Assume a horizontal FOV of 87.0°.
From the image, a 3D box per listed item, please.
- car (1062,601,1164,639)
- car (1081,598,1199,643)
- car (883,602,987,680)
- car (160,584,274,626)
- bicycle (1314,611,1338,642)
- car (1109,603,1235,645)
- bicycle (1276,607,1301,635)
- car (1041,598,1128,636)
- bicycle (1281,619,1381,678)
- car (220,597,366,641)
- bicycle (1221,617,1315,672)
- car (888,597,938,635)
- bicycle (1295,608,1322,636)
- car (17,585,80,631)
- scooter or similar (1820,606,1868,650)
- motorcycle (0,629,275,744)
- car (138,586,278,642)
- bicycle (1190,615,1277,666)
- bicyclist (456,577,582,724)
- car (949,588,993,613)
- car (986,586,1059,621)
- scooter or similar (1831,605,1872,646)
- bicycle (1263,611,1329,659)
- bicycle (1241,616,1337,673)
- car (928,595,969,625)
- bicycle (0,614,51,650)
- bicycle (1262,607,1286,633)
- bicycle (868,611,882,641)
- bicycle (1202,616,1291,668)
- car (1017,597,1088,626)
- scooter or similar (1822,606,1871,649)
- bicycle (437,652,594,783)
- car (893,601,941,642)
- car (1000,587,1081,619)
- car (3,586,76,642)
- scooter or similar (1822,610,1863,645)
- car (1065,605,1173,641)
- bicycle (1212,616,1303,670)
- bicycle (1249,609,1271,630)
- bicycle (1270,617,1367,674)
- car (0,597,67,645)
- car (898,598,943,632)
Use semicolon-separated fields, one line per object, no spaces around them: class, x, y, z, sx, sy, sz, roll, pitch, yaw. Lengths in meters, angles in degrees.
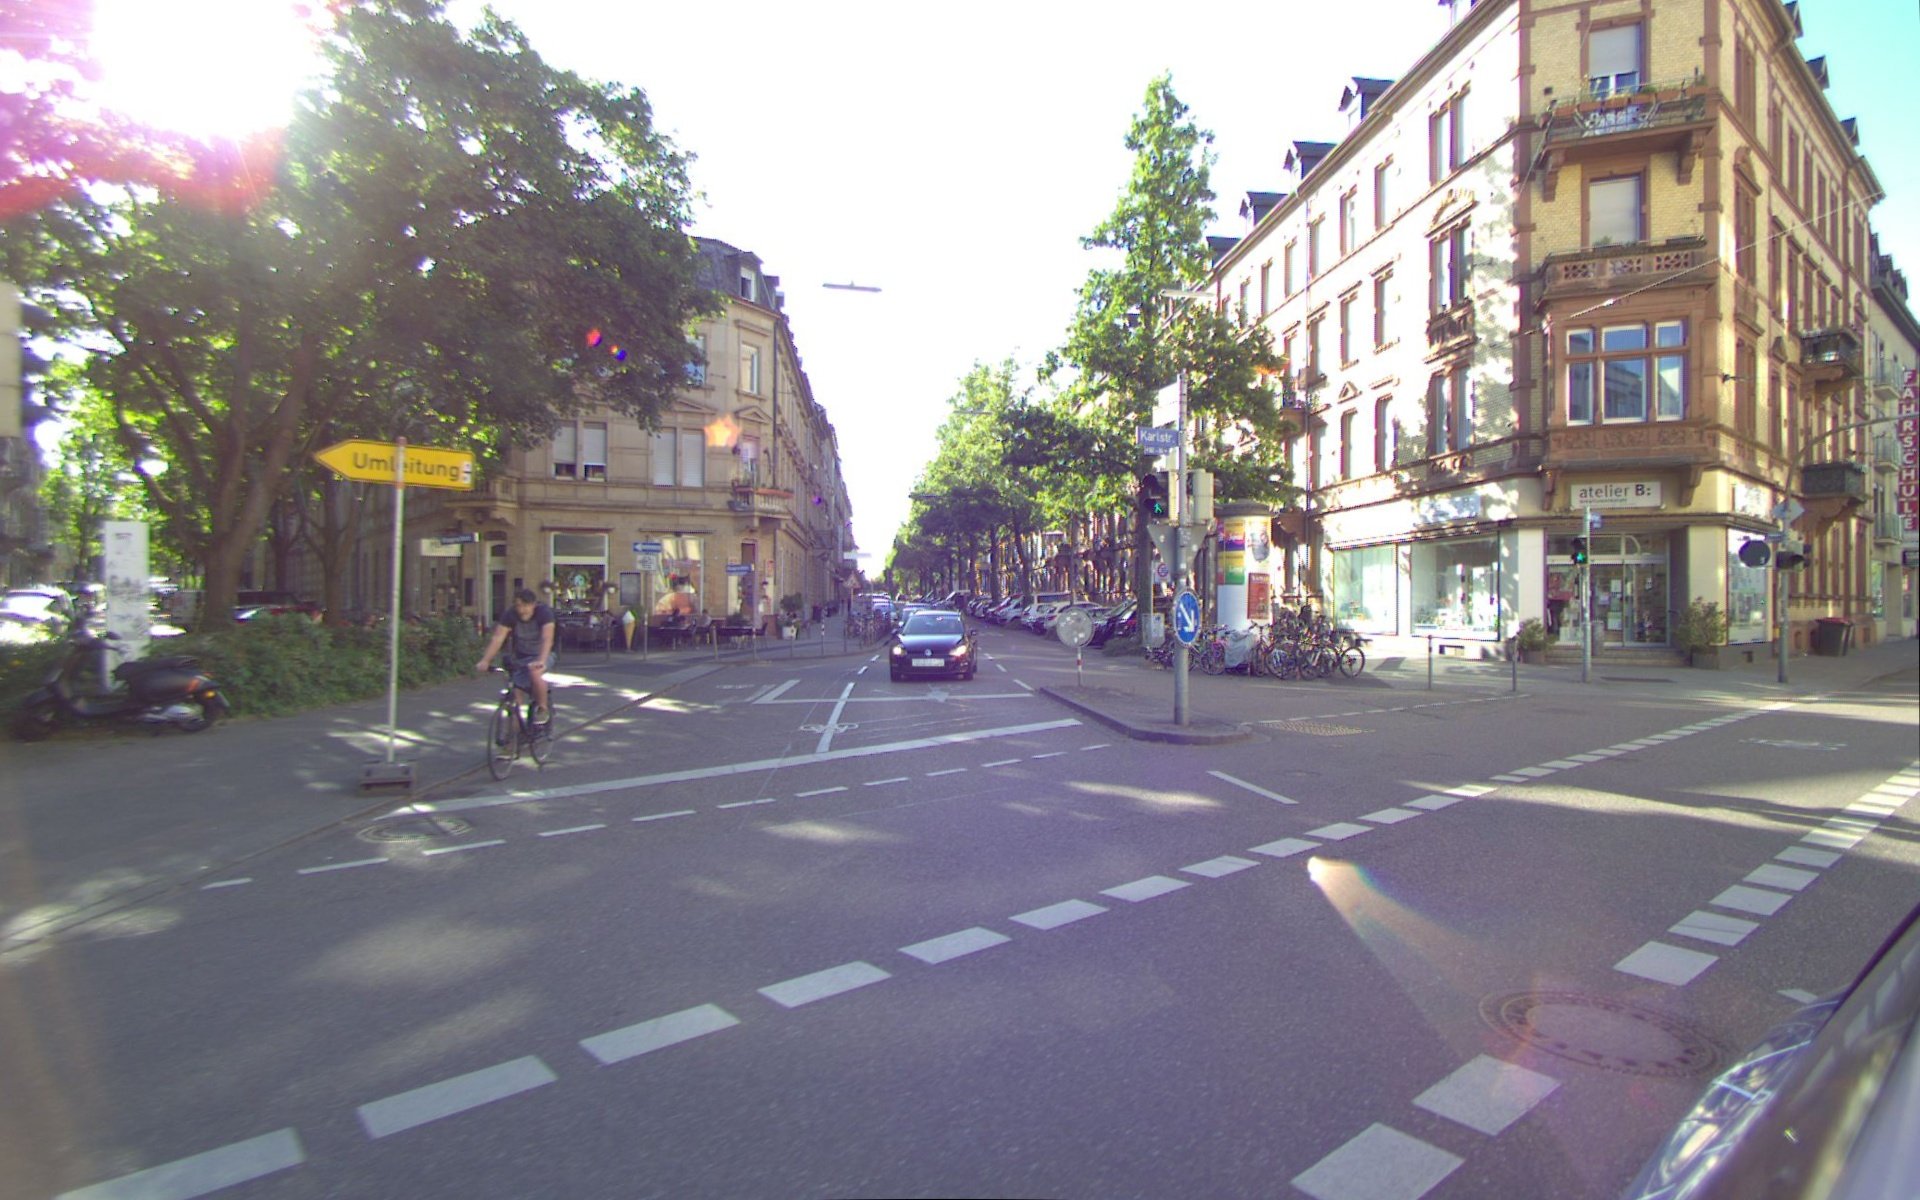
car;6.374;0.846;42.406;3.917;1.544;1.554;0;0;-10
car;6.672;0.729;37.705;3.917;1.622;1.828;0;0;-10
car;-0.439;0.819;22.273;1.813;1.517;4.244;-1;0;5
car;-34.924;0.226;47.716;1.975;1.886;3.979;0;0;16
bicycle;12.270;0.880;33.948;0.389;1.017;1.000;0;0;-5
car;7.387;0.813;35.432;3.917;1.389;1.828;0;0;-10
bicycle;11.991;0.760;36.962;0.389;0.969;1.288;0;0;-5
car;5.848;0.798;47.780;3.784;1.780;1.523;0;0;-10
bicycle;8.084;1.036;22.058;2.076;1.157;0.619;-2;0;-18
car;-23.508;0.633;35.825;1.619;1.450;4.146;0;0;22
bicycle;7.217;1.024;23.709;2.076;1.157;0.619;-2;0;-18
car;-2.075;0.698;45.795;1.812;1.625;4.247;-1;0;3
bicycle;12.266;0.764;35.613;0.389;0.969;1.288;0;0;-5
car;-39.068;0.328;43.464;1.711;1.886;3.997;0;0;-38
scooter or similar;25.326;0.794;29.004;0.538;1.162;0.899;1;4;-42
motorcycle;-8.960;0.895;11.077;2.348;1.139;0.612;2;-2;-42
car;-28.185;0.471;38.062;1.619;1.885;3.970;2;2;22
bicycle;6.887;1.003;25.461;2.076;1.157;0.619;-2;0;-18
bicyclist;-4.316;0.469;9.993;0.821;1.360;1.136;0;0;-6
car;1.019;0.005;96.139;3.918;2.351;1.553;0;0;-9
car;3.995;0.206;65.290;4.381;2.230;1.850;0;0;-9
scooter or similar;27.555;0.775;31.287;0.776;1.162;0.792;1;3;-42
bicycle;8.758;0.905;26.402;1.583;1.157;0.545;-2;0;-18
bicycle;7.484;0.998;23.004;2.076;1.157;0.619;-2;0;-18
car;-0.688;0.568;57.929;1.808;1.625;4.256;-1;0;-7
bicycle;-26.210;0.829;27.462;2.119;0.899;1.016;5;-3;-35
bicycle;11.993;0.767;38.707;0.389;0.969;1.347;0;0;-5
bicycle;-3.180;0.957;37.777;0.390;1.056;1.879;0;0;-1
bicycle;7.056;1.011;24.887;2.076;1.157;0.619;-2;0;-18
car;5.061;0.640;55.492;3.608;1.545;1.553;0;0;-9
scooter or similar;26.064;0.792;29.761;0.639;1.162;0.935;1;4;-42
bicycle;-4.352;1.101;10.092;0.830;1.058;2.099;-1;0;-6
car;-1.763;0.829;40.526;1.809;1.517;4.253;-1;0;-4
car;4.777;0.192;60.020;4.577;1.856;1.553;0;0;-5
car;-33.451;0.482;36.867;1.608;1.886;3.996;4;-2;-39
scooter or similar;26.506;0.817;30.404;0.668;0.969;0.792;1;4;-42
car;6.273;0.908;40.105;3.917;1.374;1.554;0;0;-10
bicycle;7.131;1.008;24.254;2.076;1.157;0.619;-2;0;-18
bicycle;11.933;0.763;40.254;0.389;0.808;1.347;0;0;-5
bicycle;7.981;1.002;22.517;2.076;1.157;0.619;-1;0;-18
car;-29.834;0.665;32.343;1.532;1.446;3.808;0;-1;-35
car;-1.930;0.720;50.559;1.812;1.625;4.246;1;0;3
